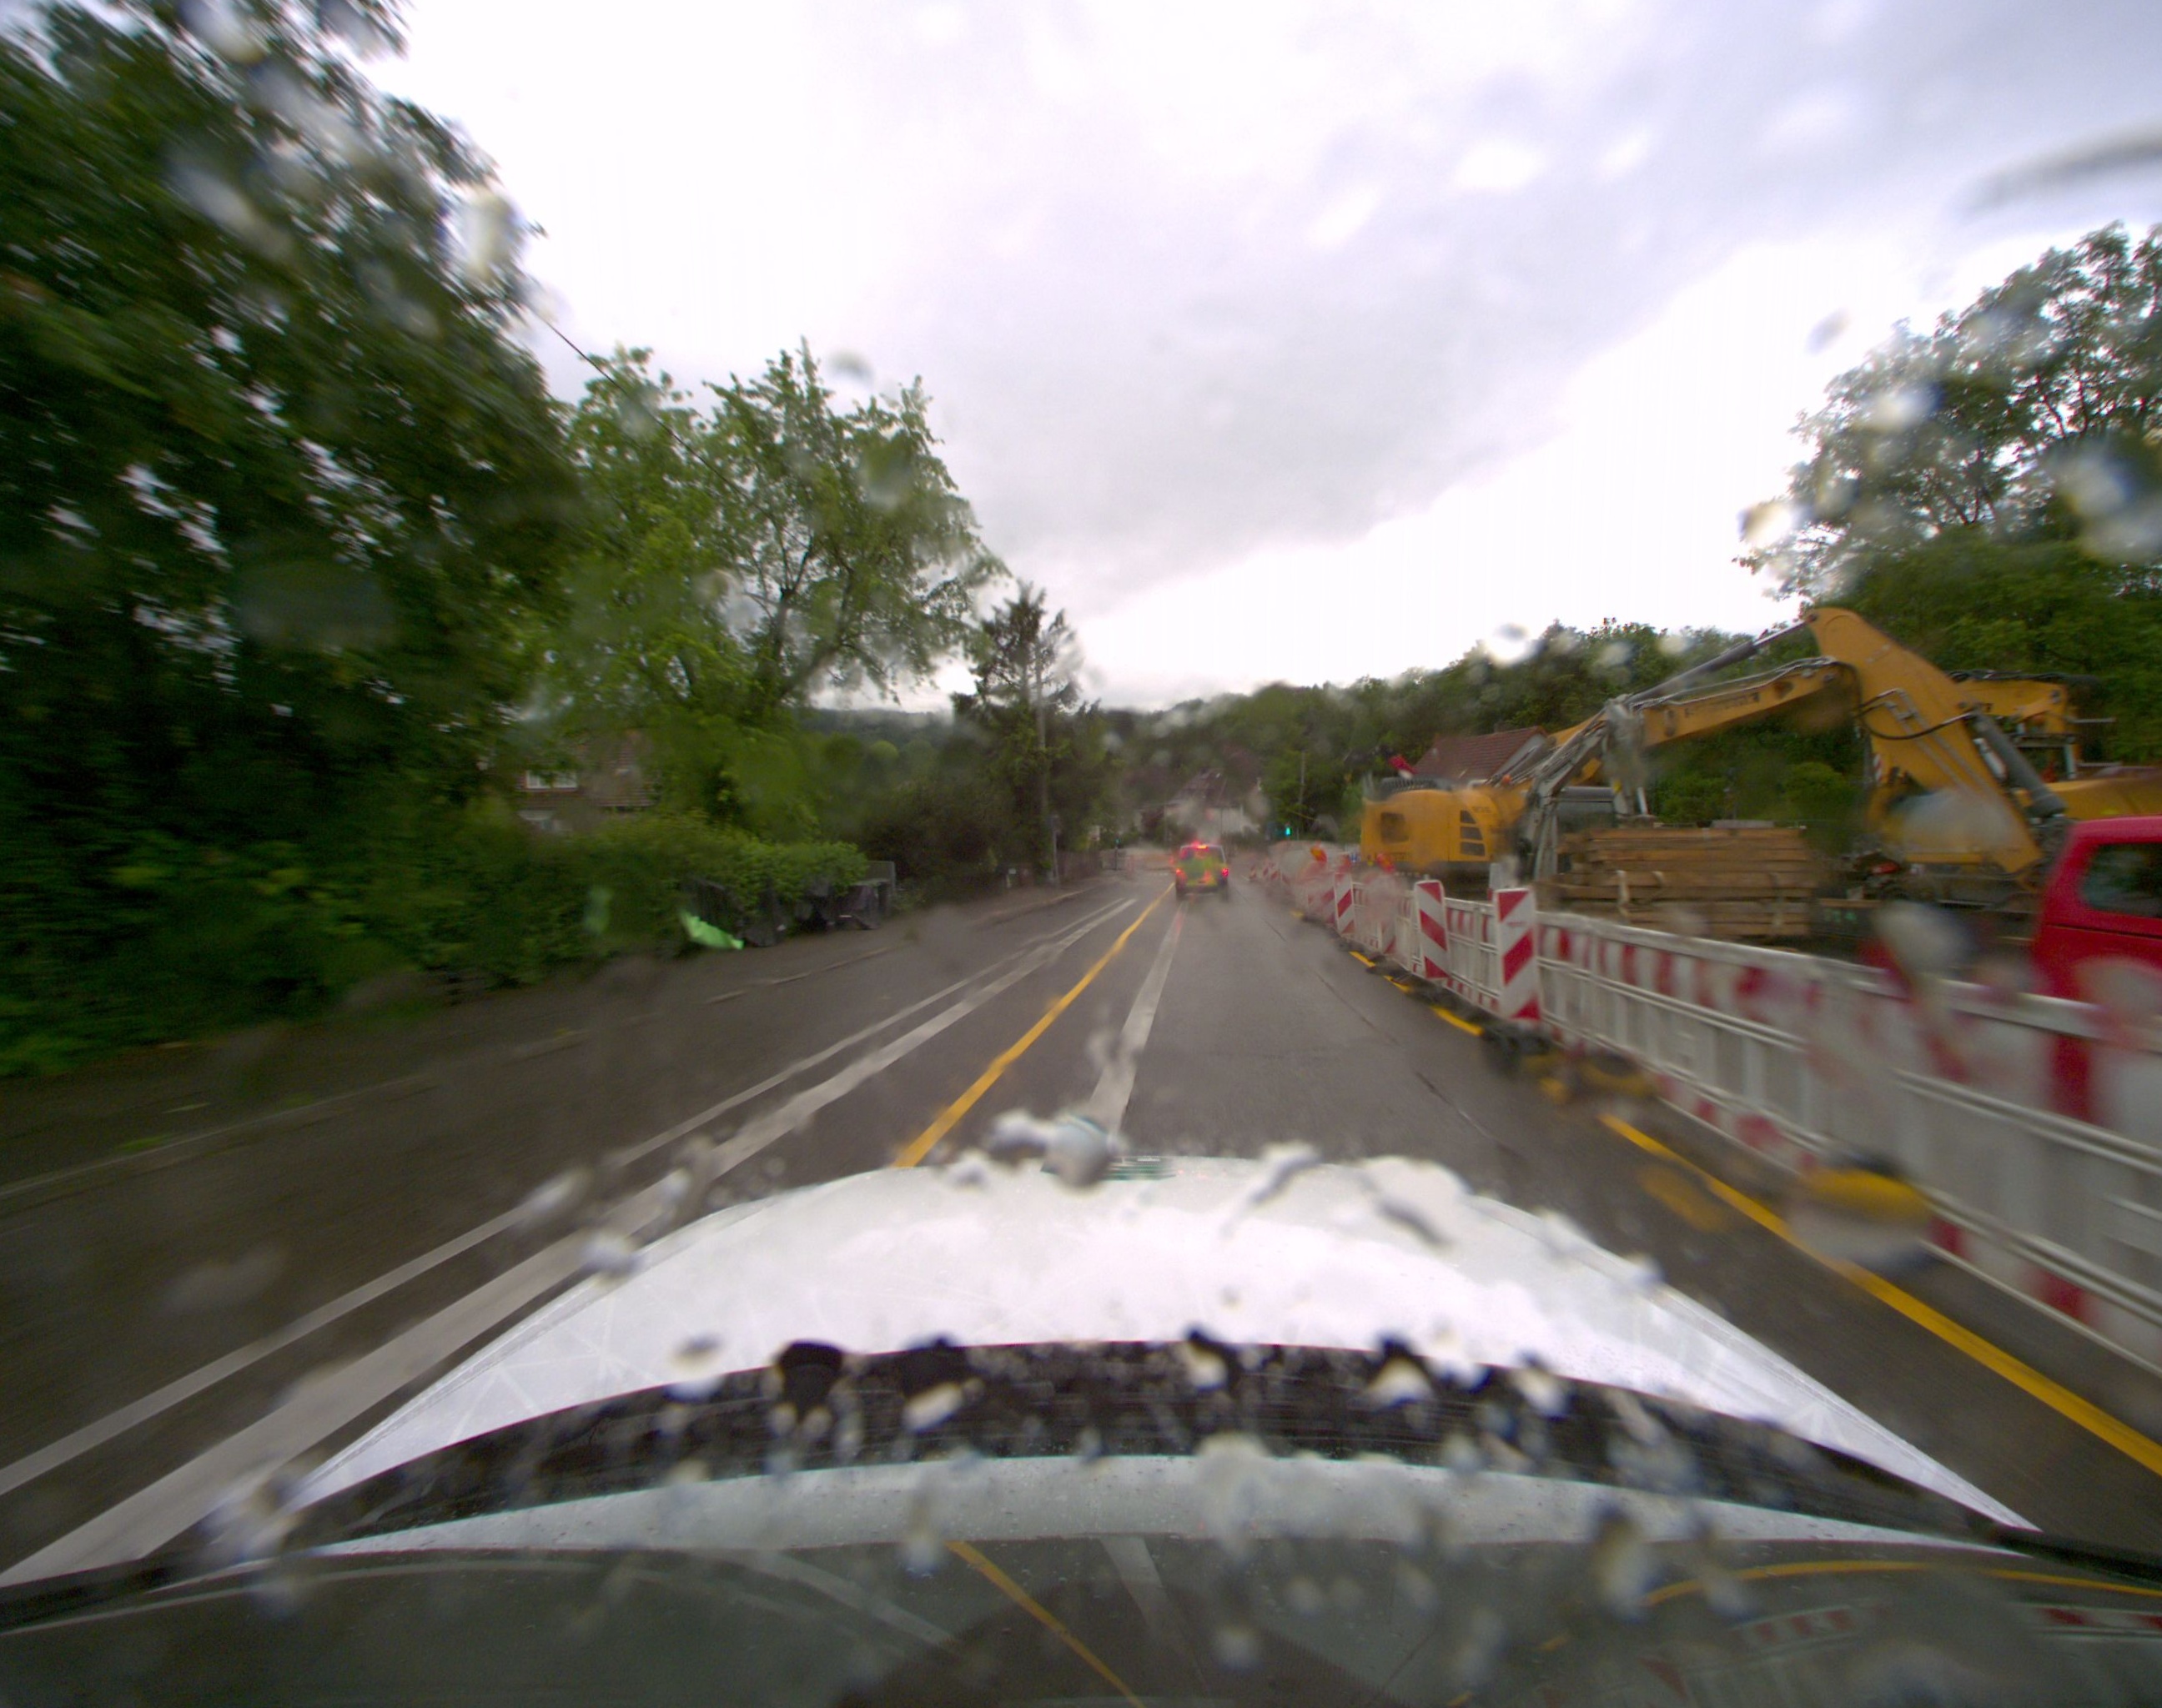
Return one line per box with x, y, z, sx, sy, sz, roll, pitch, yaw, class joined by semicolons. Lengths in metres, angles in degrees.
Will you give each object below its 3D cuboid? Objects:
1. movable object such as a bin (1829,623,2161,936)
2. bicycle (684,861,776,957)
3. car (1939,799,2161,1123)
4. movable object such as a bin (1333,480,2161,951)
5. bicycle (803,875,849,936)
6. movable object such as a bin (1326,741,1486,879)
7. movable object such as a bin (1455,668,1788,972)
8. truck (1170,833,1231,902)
14.300;-0.951;12.368;1.983;3.888;4.625;-1;0;6;movable object such as a bin
-5.257;0.787;12.319;0.418;1.349;1.746;-1;-1;8;bicycle
6.747;0.590;3.211;1.982;1.779;5.010;-1;0;8;car
9.443;-1.232;13.907;3.074;4.919;10.720;1;-3;-28;movable object such as a bin
-4.868;0.967;15.596;0.336;1.107;1.259;-1;-1;8;bicycle
16.462;-2.151;41.687;6.918;6.689;3.049;-1;0;4;movable object such as a bin
6.792;-0.302;10.861;1.984;3.306;3.839;-1;-2;4;movable object such as a bin
4.447;0.398;29.969;1.981;2.013;4.750;-2;4;10;truck
